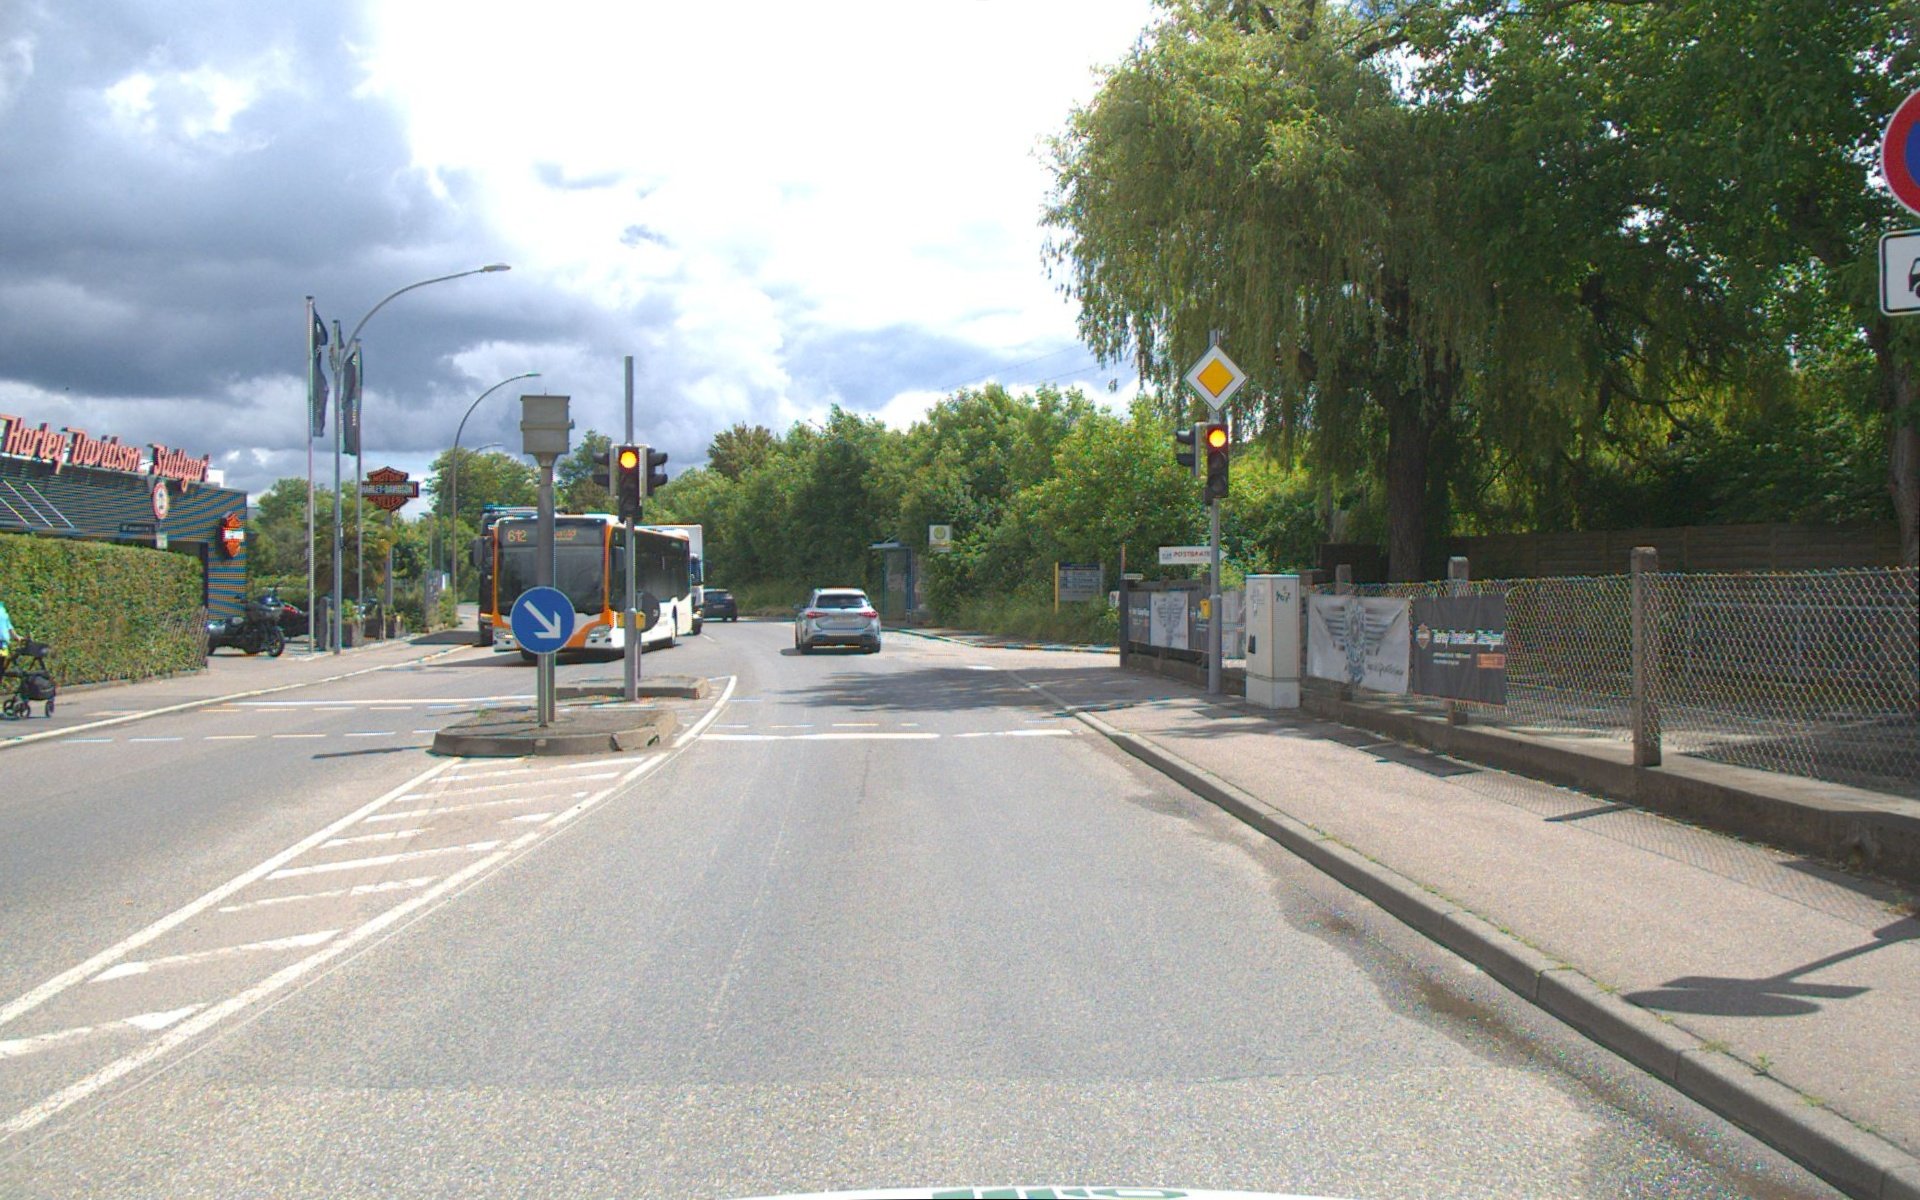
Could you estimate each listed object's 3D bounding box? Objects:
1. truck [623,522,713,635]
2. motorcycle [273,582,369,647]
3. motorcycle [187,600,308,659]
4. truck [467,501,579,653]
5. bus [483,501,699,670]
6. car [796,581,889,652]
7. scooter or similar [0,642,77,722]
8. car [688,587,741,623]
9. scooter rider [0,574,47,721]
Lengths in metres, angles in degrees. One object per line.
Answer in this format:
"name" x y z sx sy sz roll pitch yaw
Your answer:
"truck" -10.152 -0.719 57.660 2.788 3.602 9.702 -1 0 -10
"motorcycle" -17.313 0.391 44.811 2.254 1.713 1.042 0 -1 19
"motorcycle" -15.610 0.626 36.236 2.447 1.239 0.927 0 -1 19
"truck" -13.305 -0.641 51.005 2.384 4.203 9.129 2 0 -10
"bus" -8.372 -0.340 39.340 2.721 3.323 12.119 -1 0 -2
"car" -2.769 0.337 38.125 1.849 1.534 3.993 0 0 -8
"scooter or similar" -10.389 0.915 18.558 0.599 0.846 0.659 1 0 -4
"car" -10.878 0.216 73.057 1.854 1.534 3.983 0 0 -16
"scooter rider" -10.907 0.510 18.572 0.861 1.617 0.795 1 0 -4
